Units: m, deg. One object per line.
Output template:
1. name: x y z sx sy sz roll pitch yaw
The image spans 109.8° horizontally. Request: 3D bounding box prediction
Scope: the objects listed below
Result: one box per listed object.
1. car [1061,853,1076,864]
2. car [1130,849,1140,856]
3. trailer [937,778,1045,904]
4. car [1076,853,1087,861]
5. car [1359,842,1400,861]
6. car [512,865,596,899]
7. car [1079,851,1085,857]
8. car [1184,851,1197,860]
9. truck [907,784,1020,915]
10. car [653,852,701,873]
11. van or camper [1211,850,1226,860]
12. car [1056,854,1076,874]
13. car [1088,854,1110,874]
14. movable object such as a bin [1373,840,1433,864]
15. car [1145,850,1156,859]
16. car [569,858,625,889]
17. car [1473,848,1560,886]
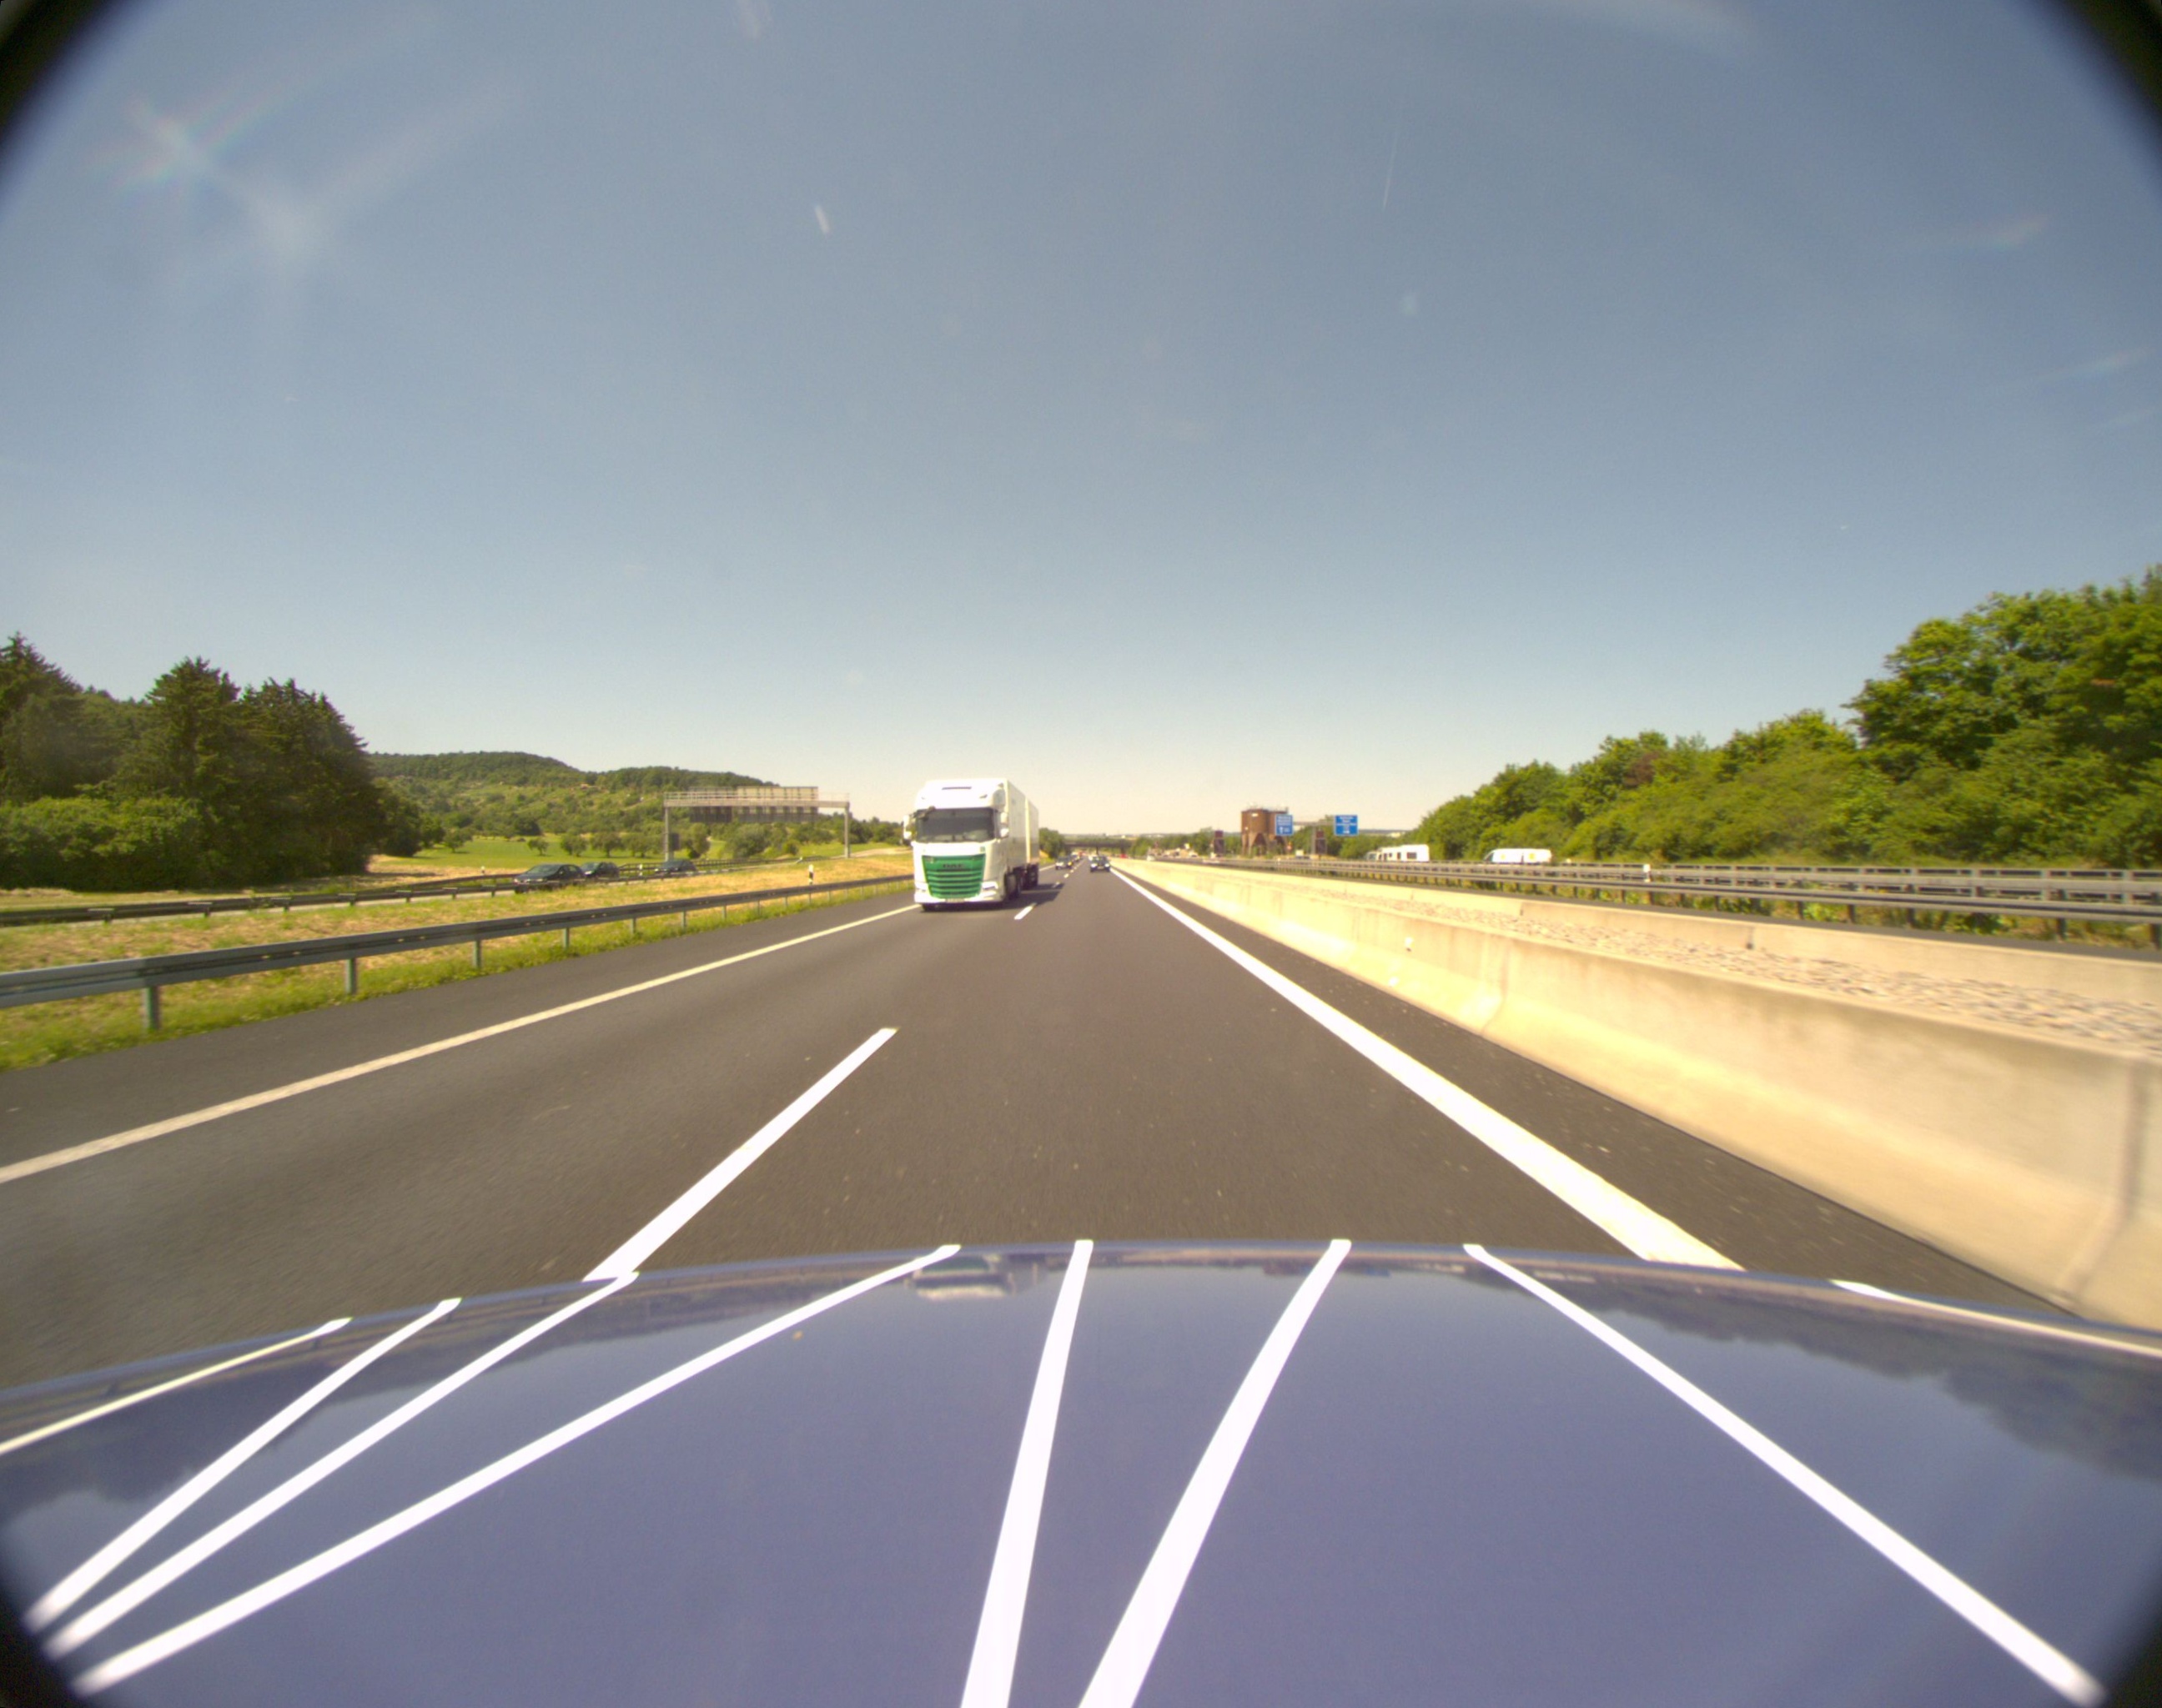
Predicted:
1. car: -1.854 0.693 117.460 1.998 1.574 4.000 -3 0 2
2. car: 11.889 -0.335 168.142 1.799 1.586 4.307 -1 0 -1
3. trailer: -3.399 -0.505 33.164 2.663 4.164 14.893 -2 0 0
4. car: 0.165 0.671 157.142 1.998 1.574 4.000 -3 0 2
5. car: 29.464 -0.216 75.168 1.999 1.795 4.815 0 0 -1
6. car: -25.520 1.311 36.936 1.782 1.392 3.758 -2 1 -8
7. car: 0.352 0.143 258.858 1.998 2.002 4.000 -1 0 1
8. car: 30.416 0.400 212.049 2.803 2.487 5.963 1 0 1
9. truck: -3.461 -0.151 23.491 2.649 3.572 4.403 -2 1 0
10. car: -31.272 0.619 58.915 1.892 1.464 3.864 -2 1 -6
11. van or camper: 31.133 0.218 171.896 2.112 2.242 6.966 -2 1 1
12. car: -1.684 1.081 84.335 1.998 2.002 3.999 -2 1 1
13. car: 1.590 0.832 66.592 1.799 1.574 3.999 -2 1 0
14. movable object such as a bin: 29.303 -0.186 69.416 2.513 2.002 6.779 -2 1 0
15. car: 15.550 0.052 170.378 1.998 1.831 5.084 1 0 1
16. car: -35.101 1.390 55.211 2.000 2.002 3.996 -3 1 -11
17. car: 24.943 0.681 43.761 1.998 2.002 5.348 -2 1 1
